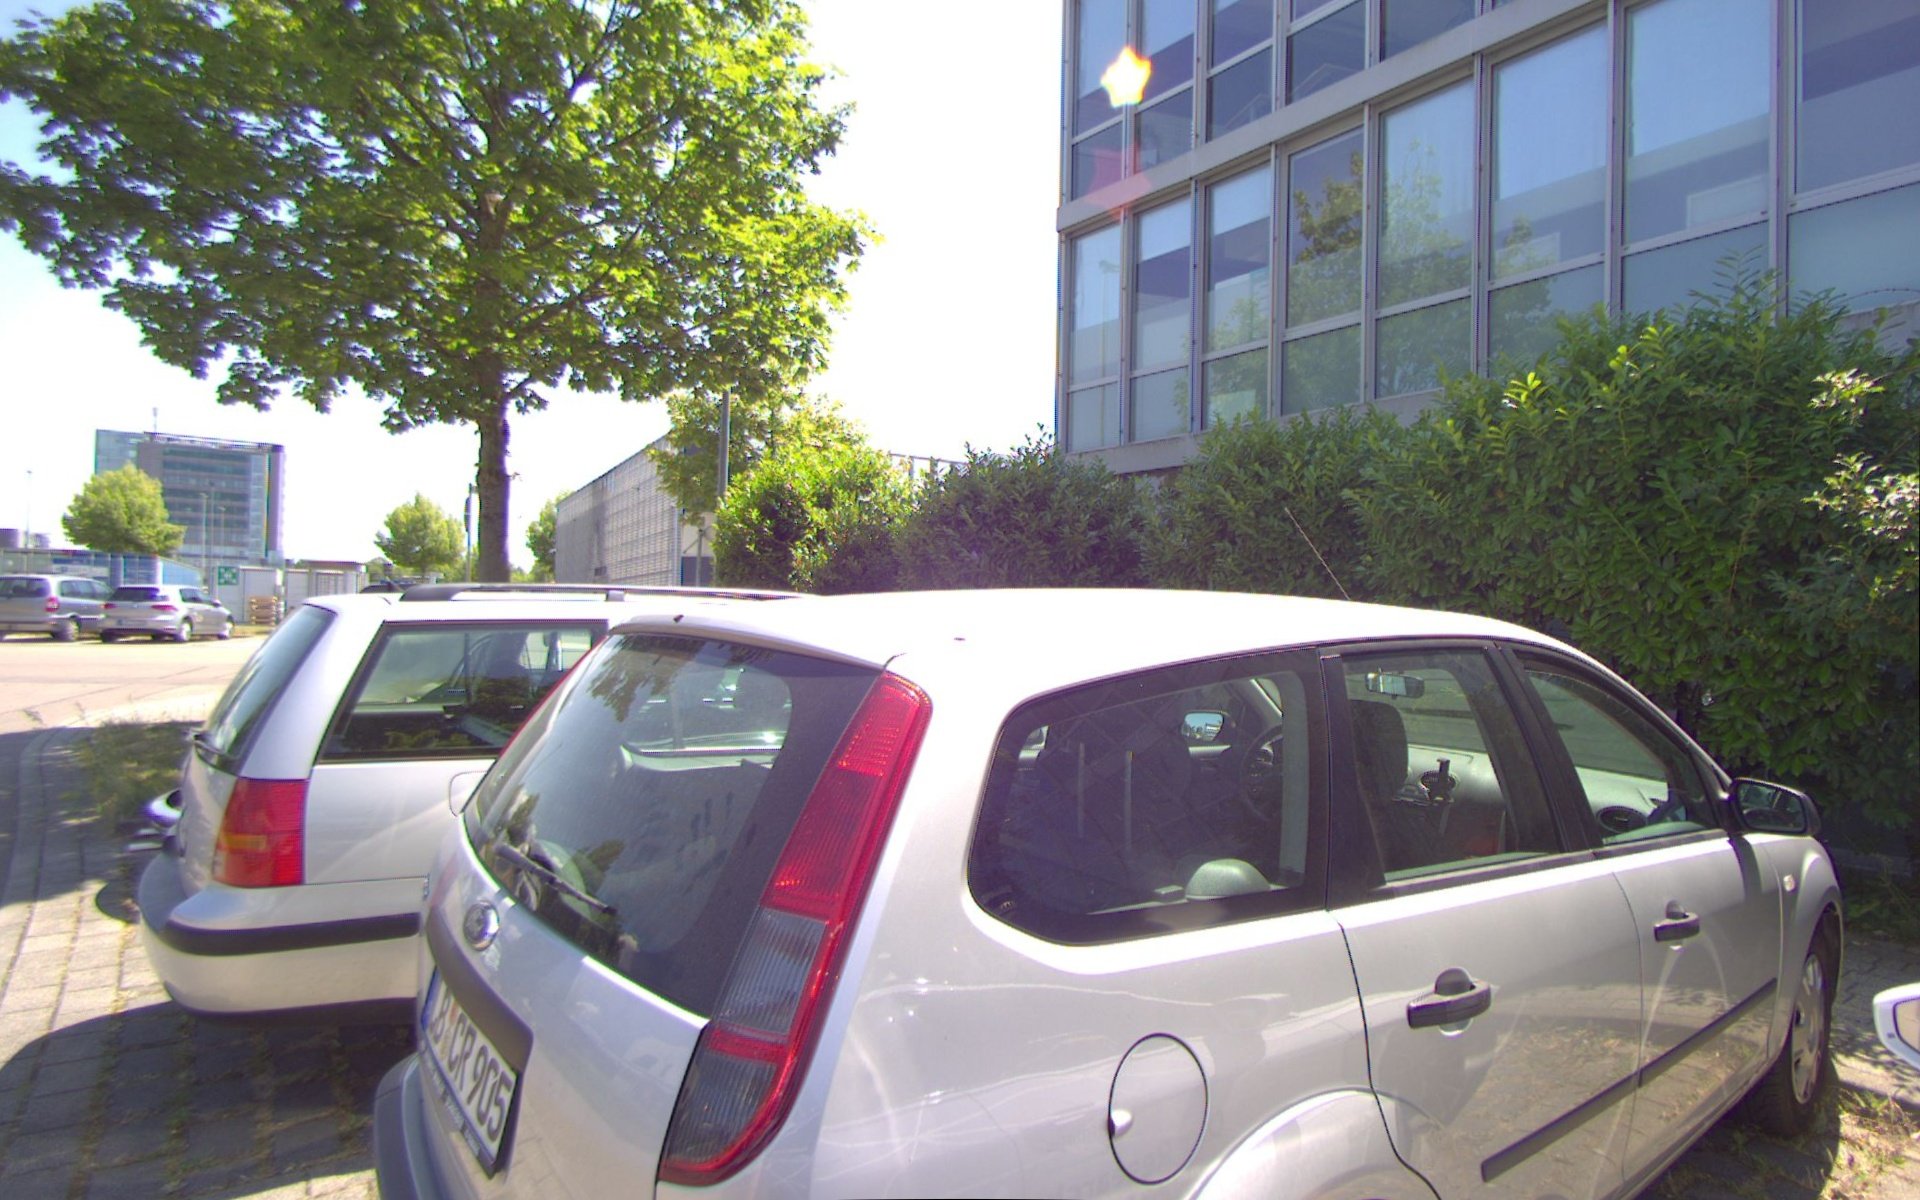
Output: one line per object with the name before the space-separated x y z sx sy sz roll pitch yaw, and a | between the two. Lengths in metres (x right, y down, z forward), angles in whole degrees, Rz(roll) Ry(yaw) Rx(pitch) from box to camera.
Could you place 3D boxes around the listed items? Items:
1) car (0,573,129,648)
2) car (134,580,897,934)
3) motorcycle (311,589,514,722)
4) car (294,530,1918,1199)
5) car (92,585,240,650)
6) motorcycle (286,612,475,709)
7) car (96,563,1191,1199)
car | -22.899 0.239 25.517 1.749 1.761 3.974 2 0 -25
car | -2.425 0.686 6.030 3.859 1.468 1.634 2 0 -39
motorcycle | -6.213 0.602 11.484 1.973 1.408 0.479 1 0 -40
car | 0.863 0.745 2.662 4.307 1.499 1.707 2 0 -37
car | -20.526 0.427 26.165 1.626 1.542 3.985 2 0 -17
motorcycle | -7.177 0.723 12.511 1.973 1.123 0.479 1 0 -40
car | -0.931 0.702 4.111 3.859 1.499 1.634 2 0 -39
